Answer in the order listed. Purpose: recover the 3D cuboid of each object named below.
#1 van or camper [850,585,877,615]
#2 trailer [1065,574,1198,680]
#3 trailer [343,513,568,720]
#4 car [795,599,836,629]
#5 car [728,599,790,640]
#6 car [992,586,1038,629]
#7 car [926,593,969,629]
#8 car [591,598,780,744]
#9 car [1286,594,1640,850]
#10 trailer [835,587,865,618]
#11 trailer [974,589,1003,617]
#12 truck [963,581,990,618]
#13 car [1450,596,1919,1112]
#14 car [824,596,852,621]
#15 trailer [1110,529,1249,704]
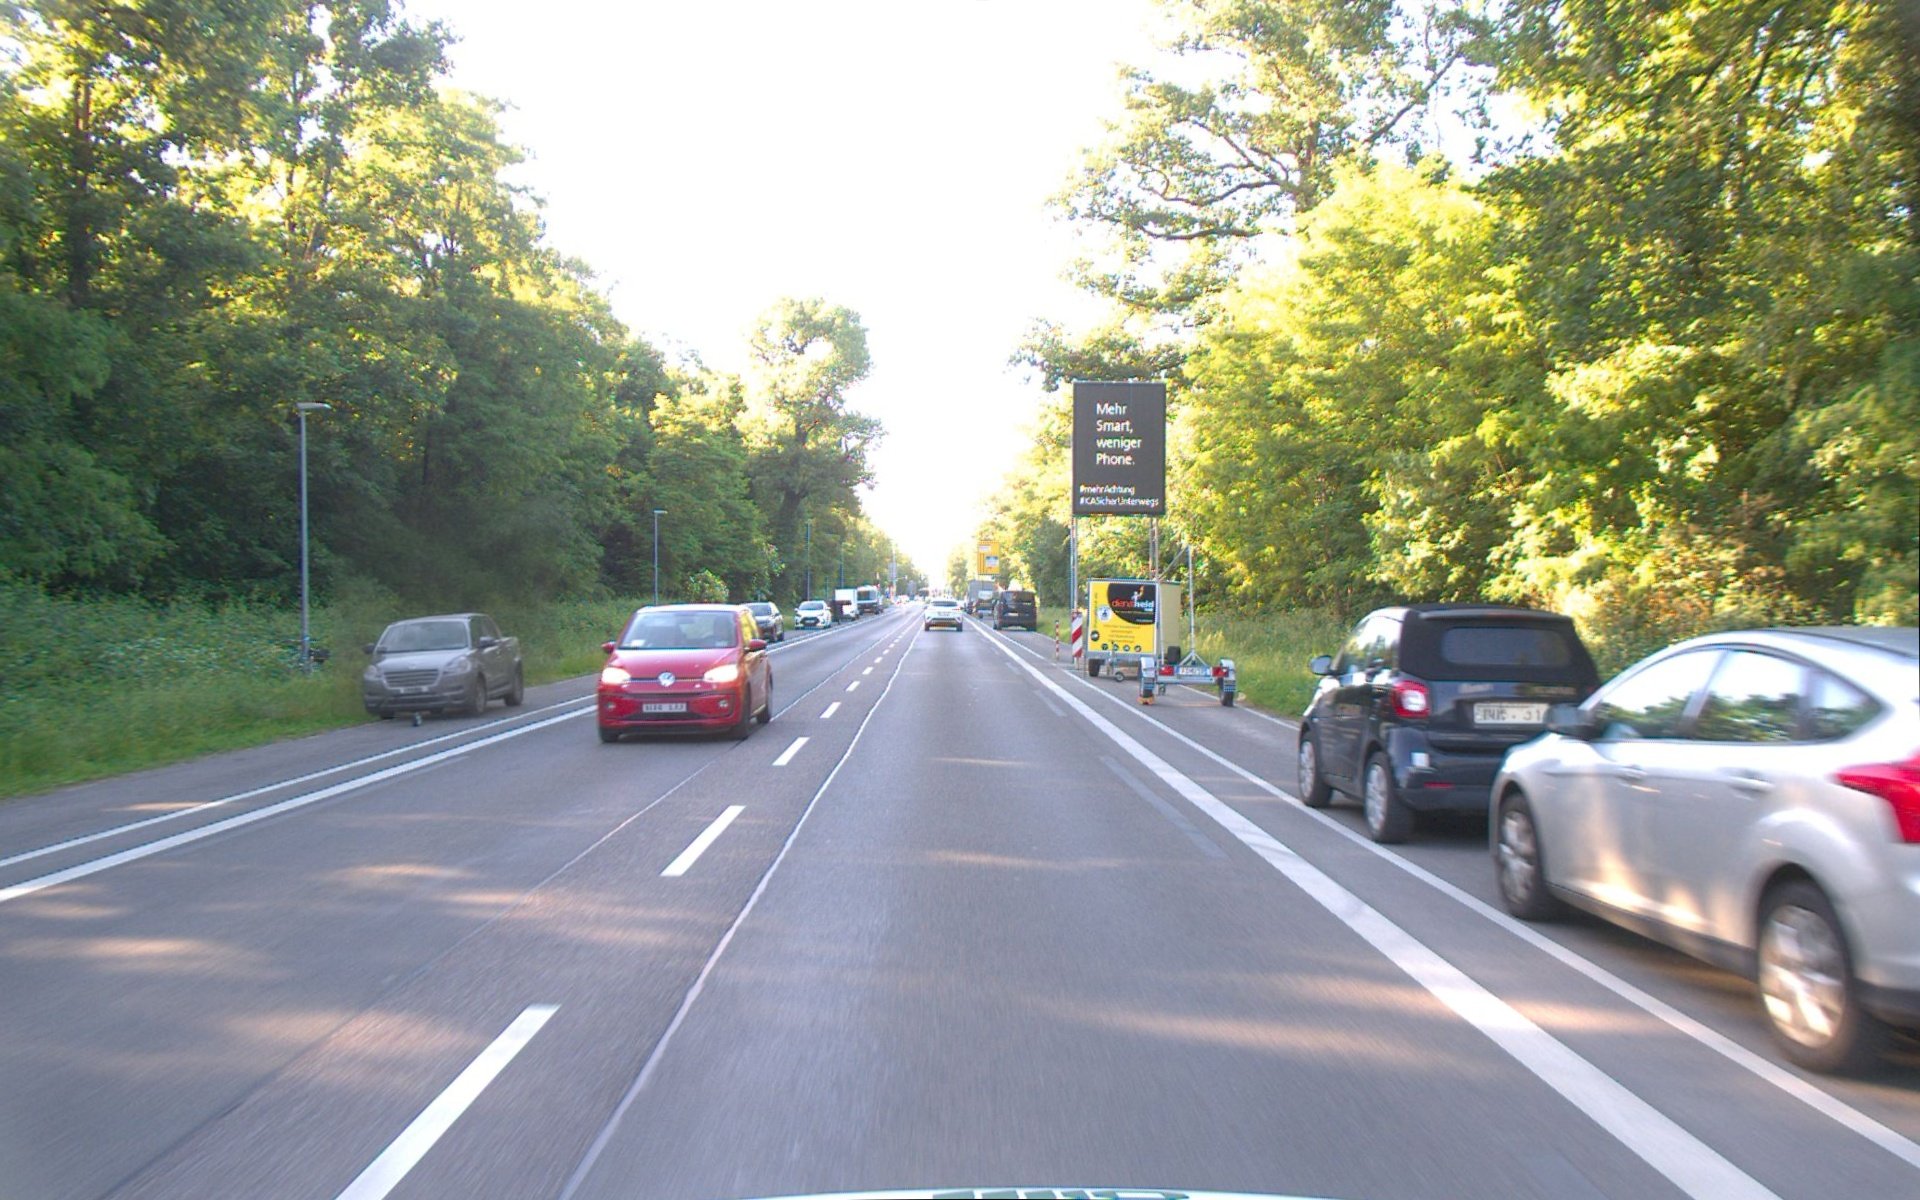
[{"bbox_3d":[-9.375,-0.015,161.253,2.255,2.816,5.556,-2,0,-1],"label":"van or camper"},{"bbox_3d":[3.594,0.504,34.143,1.921,2.058,3.845,0,0,19],"label":"trailer"},{"bbox_3d":[-6.990,0.206,23.367,1.953,2.667,4.085,0,0,-1],"label":"trailer"},{"bbox_3d":[-7.746,0.721,88.978,1.829,1.476,4.070,-3,0,-1],"label":"car"},{"bbox_3d":[-7.499,0.708,62.077,1.817,1.490,4.783,0,0,-1],"label":"car"},{"bbox_3d":[2.772,0.386,84.144,2.070,2.049,5.039,2,0,0],"label":"car"},{"bbox_3d":[-0.611,0.513,78.324,1.953,1.668,3.999,0,0,-1],"label":"car"},{"bbox_3d":[-3.010,0.730,18.747,1.571,1.445,3.518,-1,0,-1],"label":"car"},{"bbox_3d":[3.449,0.762,11.866,1.554,1.557,3.010,2,0,-1],"label":"car"},{"bbox_3d":[-8.660,0.178,130.022,2.032,2.333,3.487,-1,0,1],"label":"trailer"},{"bbox_3d":[2.229,0.241,128.365,1.581,2.149,2.397,1,0,20],"label":"trailer"},{"bbox_3d":[1.567,-0.039,158.291,2.454,3.425,7.106,1,0,0],"label":"truck"},{"bbox_3d":[3.625,0.772,6.879,1.700,1.514,4.399,2,0,-2],"label":"car"},{"bbox_3d":[-8.610,0.585,116.897,1.778,1.599,4.205,-2,0,-3],"label":"car"},{"bbox_3d":[3.415,0.251,26.324,1.581,2.552,3.999,1,0,-1],"label":"trailer"}]
